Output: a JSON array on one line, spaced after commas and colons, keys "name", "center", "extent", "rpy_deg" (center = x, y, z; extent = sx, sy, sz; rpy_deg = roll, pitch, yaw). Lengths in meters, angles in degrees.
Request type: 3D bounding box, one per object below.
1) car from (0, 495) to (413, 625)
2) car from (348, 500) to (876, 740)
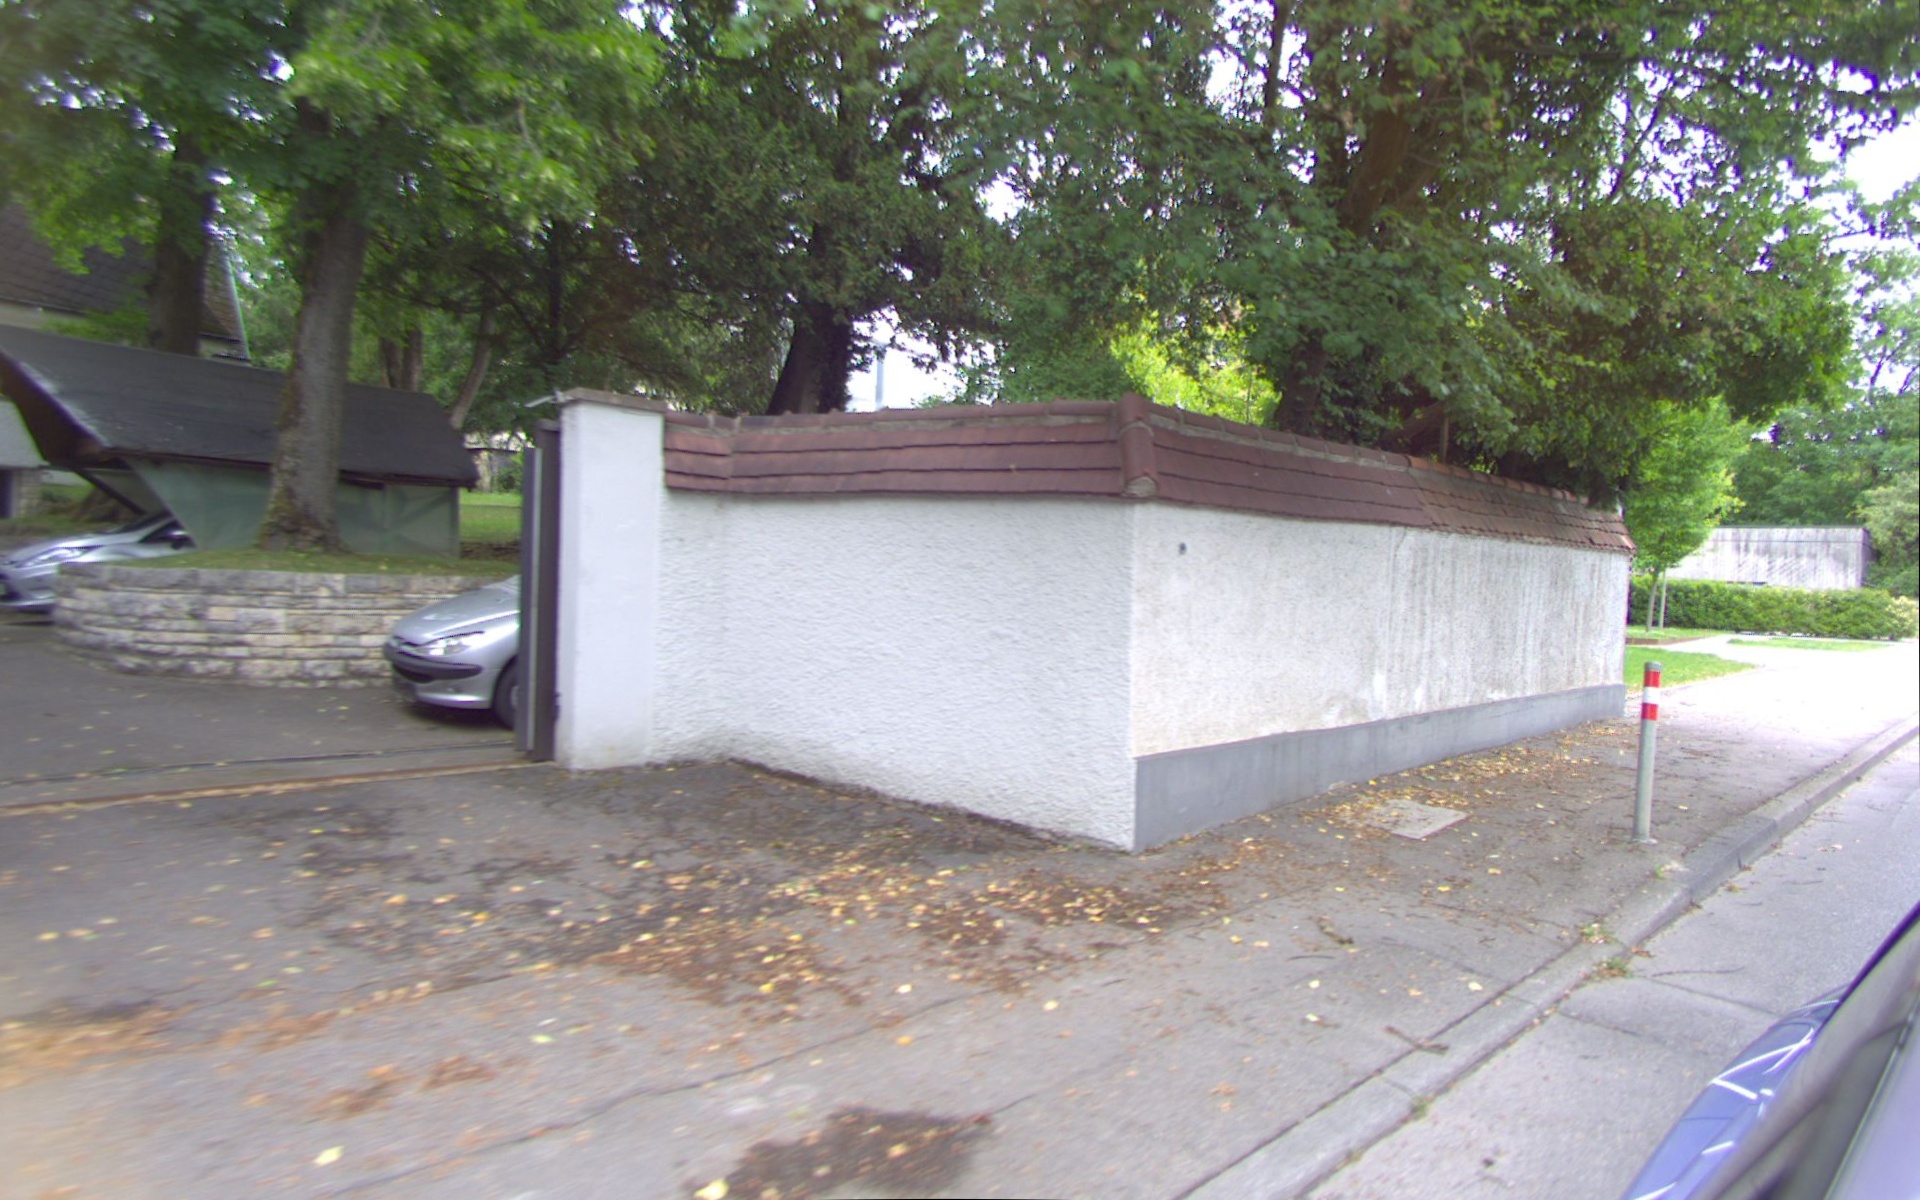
[{"name": "car", "center": [-8.734, -0.469, 11.791], "extent": [1.411, 1.278, 3.938], "rpy_deg": [3, 4, 43]}, {"name": "car", "center": [-2.810, 0.031, 8.761], "extent": [1.753, 1.504, 3.938], "rpy_deg": [9, 8, 42]}]
